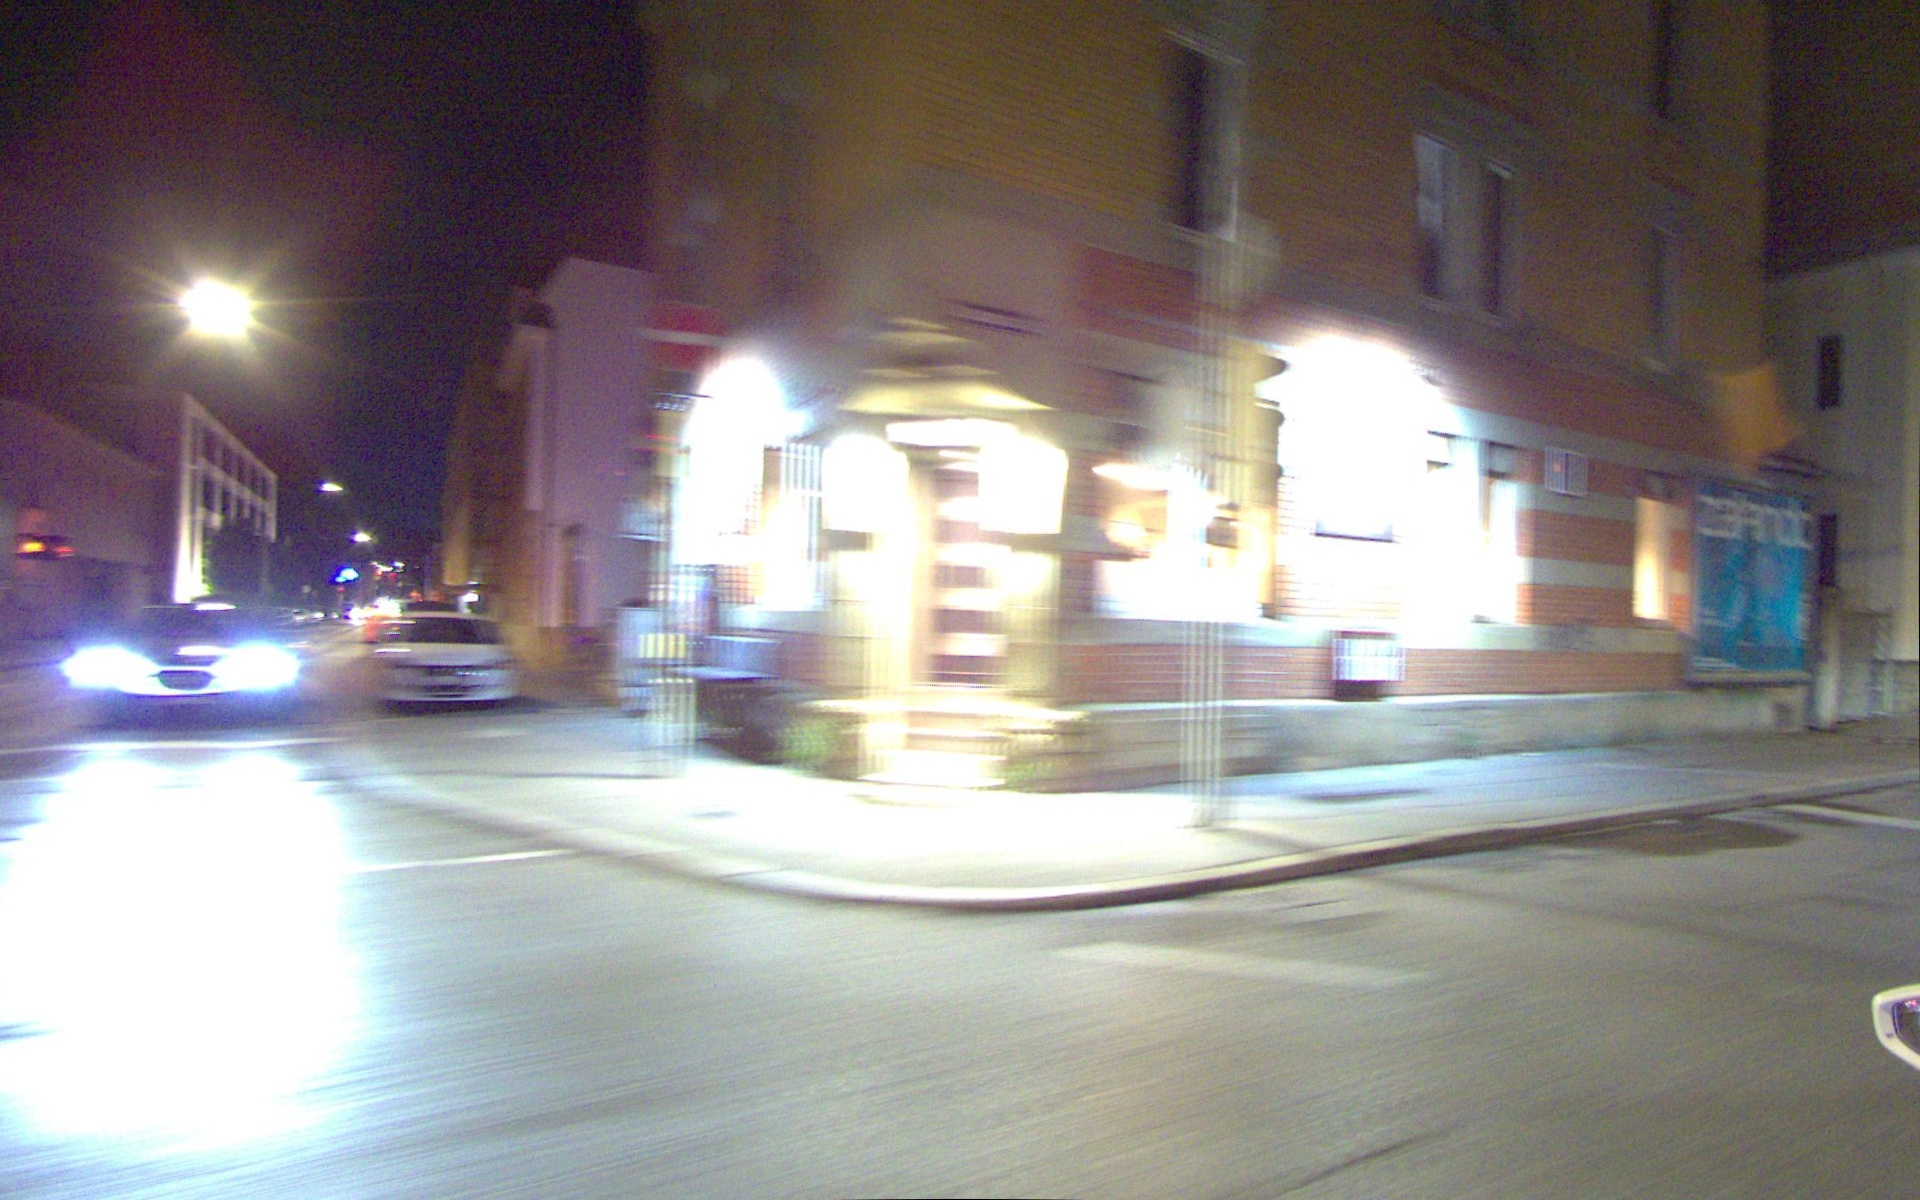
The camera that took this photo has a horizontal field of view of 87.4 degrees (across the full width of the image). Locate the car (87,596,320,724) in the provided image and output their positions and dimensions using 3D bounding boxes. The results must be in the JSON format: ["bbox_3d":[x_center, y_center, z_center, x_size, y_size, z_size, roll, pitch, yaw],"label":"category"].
[{"bbox_3d":[-10.107,0.725,13.807,1.894,1.436,4.605,2,-1,-29],"label":"car"}]

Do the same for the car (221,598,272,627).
[{"bbox_3d":[-37.939,0.665,53.503,1.746,1.447,3.969,2,-1,-29],"label":"car"}]

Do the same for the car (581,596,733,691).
[{"bbox_3d":[-5.842,0.790,19.118,1.686,1.614,3.582,4,-2,-35],"label":"car"}]

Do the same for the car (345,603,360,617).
[{"bbox_3d":[-85.665,1.429,141.643,1.801,1.684,3.965,2,1,-32],"label":"car"}]

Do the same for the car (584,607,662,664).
[{"bbox_3d":[-9.557,0.990,28.705,1.673,1.441,3.609,3,-2,-13],"label":"car"}]

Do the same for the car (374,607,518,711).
[{"bbox_3d":[-8.273,0.860,16.067,1.780,1.421,4.256,2,-1,-29],"label":"car"}]

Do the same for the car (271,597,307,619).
[{"bbox_3d":[-47.224,0.586,70.742,1.746,1.447,3.969,2,-1,-29],"label":"car"}]

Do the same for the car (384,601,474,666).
[{"bbox_3d":[-14.476,0.885,27.350,1.976,1.620,4.256,2,-1,-29],"label":"car"}]

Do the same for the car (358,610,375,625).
[{"bbox_3d":[-74.096,2.179,125.409,1.698,1.728,3.820,2,1,-32],"label":"car"}]

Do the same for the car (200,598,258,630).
[{"bbox_3d":[-35.339,0.683,48.672,1.746,1.447,3.969,2,-1,-29],"label":"car"}]

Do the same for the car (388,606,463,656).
[{"bbox_3d":[-17.215,0.959,32.305,1.976,1.482,4.156,2,-1,-29],"label":"car"}]
